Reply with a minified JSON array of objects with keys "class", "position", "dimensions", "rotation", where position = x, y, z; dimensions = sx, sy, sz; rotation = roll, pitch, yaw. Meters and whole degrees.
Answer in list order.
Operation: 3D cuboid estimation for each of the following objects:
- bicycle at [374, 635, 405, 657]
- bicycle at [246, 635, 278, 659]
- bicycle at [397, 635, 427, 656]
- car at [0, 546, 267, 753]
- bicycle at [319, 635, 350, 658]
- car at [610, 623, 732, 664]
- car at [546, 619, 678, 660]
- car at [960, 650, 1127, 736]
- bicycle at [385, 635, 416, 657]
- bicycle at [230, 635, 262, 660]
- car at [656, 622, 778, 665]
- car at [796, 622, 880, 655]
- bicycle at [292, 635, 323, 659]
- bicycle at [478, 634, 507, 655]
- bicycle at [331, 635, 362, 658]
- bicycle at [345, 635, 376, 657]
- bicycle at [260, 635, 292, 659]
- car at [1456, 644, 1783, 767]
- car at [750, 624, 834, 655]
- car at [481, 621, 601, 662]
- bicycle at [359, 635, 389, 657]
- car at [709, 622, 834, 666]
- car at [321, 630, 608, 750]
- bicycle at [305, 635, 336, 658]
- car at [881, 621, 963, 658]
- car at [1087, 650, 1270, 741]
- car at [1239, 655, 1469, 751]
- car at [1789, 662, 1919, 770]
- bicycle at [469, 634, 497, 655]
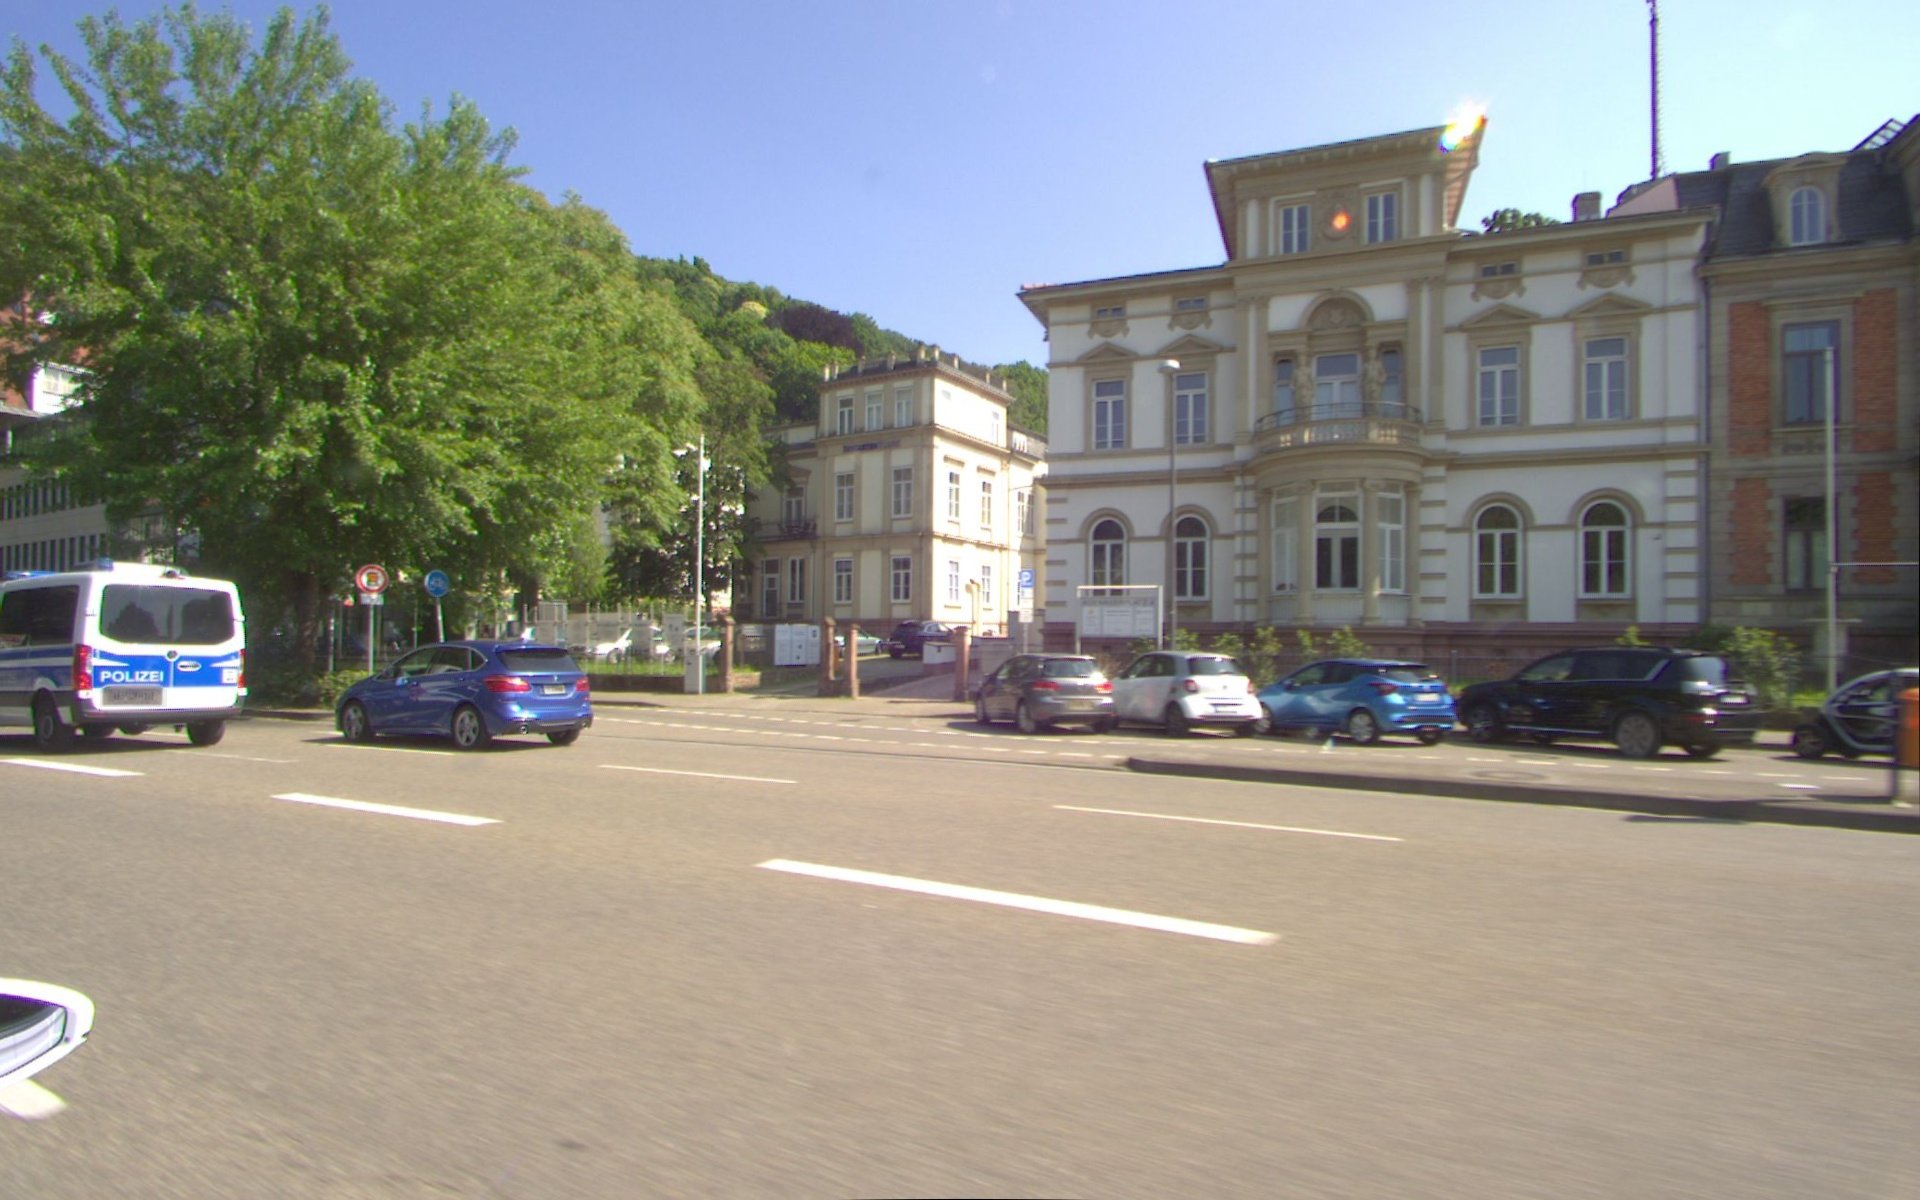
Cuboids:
[{"class":"bicycle","position":[-28.754,2.299,50.462],"dimensions":[1.808,1.099,0.536],"rotation":[-1,-1,32]},{"class":"bicycle","position":[-31.964,2.149,45.845],"dimensions":[1.808,1.099,0.536],"rotation":[-1,-1,32]},{"class":"bicycle","position":[-28.232,2.335,51.545],"dimensions":[1.808,1.099,0.536],"rotation":[-1,-1,32]},{"class":"car","position":[-12.402,0.696,14.384],"dimensions":[4.854,2.540,2.072],"rotation":[-1,-3,29]},{"class":"bicycle","position":[-30.301,2.236,48.502],"dimensions":[1.808,1.099,0.536],"rotation":[-1,-1,32]},{"class":"car","position":[-9.983,1.502,34.875],"dimensions":[1.793,1.353,4.084],"rotation":[-1,-2,27]},{"class":"car","position":[-12.344,1.395,35.816],"dimensions":[1.793,1.353,4.465],"rotation":[-1,-2,27]},{"class":"car","position":[1.513,1.738,19.672],"dimensions":[1.796,1.479,4.100],"rotation":[1,-3,-18]},{"class":"bicycle","position":[-28.504,2.317,51.017],"dimensions":[1.808,1.099,0.536],"rotation":[-1,-1,32]},{"class":"bicycle","position":[-32.303,2.132,45.299],"dimensions":[1.808,1.099,0.536],"rotation":[-1,-1,32]},{"class":"car","position":[-8.131,1.440,33.841],"dimensions":[1.831,1.353,4.040],"rotation":[-1,-2,27]},{"class":"car","position":[-5.412,1.719,44.980],"dimensions":[1.793,1.437,4.049],"rotation":[-1,-2,27]},{"class":"bicycle","position":[-30.910,2.200,47.416],"dimensions":[1.808,1.099,0.536],"rotation":[-1,-1,32]},{"class":"bicycle","position":[-26.075,2.478,55.852],"dimensions":[1.808,1.099,0.536],"rotation":[-1,-1,32]},{"class":"bicycle","position":[-30.042,2.253,49.023],"dimensions":[1.808,1.099,0.536],"rotation":[-1,-1,32]},{"class":"bicycle","position":[-29.582,2.266,49.424],"dimensions":[1.808,1.099,0.536],"rotation":[-1,-1,32]},{"class":"bicycle","position":[-31.662,2.166,46.357],"dimensions":[1.808,1.099,0.536],"rotation":[-1,-1,32]},{"class":"car","position":[10.520,1.594,16.384],"dimensions":[1.686,1.717,4.262],"rotation":[2,-3,-23]},{"class":"car","position":[-7.757,1.825,46.570],"dimensions":[1.793,1.353,4.075],"rotation":[-1,-2,27]},{"class":"car","position":[-16.113,1.592,38.710],"dimensions":[1.847,1.494,4.145],"rotation":[0,-2,25]},{"class":"bicycle","position":[-29.257,2.284,49.983],"dimensions":[1.808,1.099,0.536],"rotation":[-1,-1,32]},{"class":"car","position":[-6.092,1.413,32.825],"dimensions":[1.960,1.353,4.040],"rotation":[-1,-2,27]},{"class":"car","position":[-7.544,1.292,15.184],"dimensions":[4.204,1.560,1.719],"rotation":[0,-3,27]},{"class":"bicycle","position":[-30.619,2.218,47.939],"dimensions":[1.808,1.099,0.536],"rotation":[-1,-1,32]},{"class":"car","position":[-1.619,1.711,43.991],"dimensions":[1.836,1.528,4.049],"rotation":[-1,-2,27]},{"class":"car","position":[4.073,1.746,19.270],"dimensions":[1.685,1.530,3.804],"rotation":[1,-3,-20]},{"class":"car","position":[6.926,1.759,18.016],"dimensions":[1.686,1.460,3.801],"rotation":[2,-3,-23]},{"class":"car","position":[14.001,1.694,14.894],"dimensions":[1.183,1.501,2.280],"rotation":[2,-3,-26]},{"class":"bicycle","position":[-26.380,2.462,55.371],"dimensions":[1.808,1.099,0.536],"rotation":[-1,-1,32]}]
